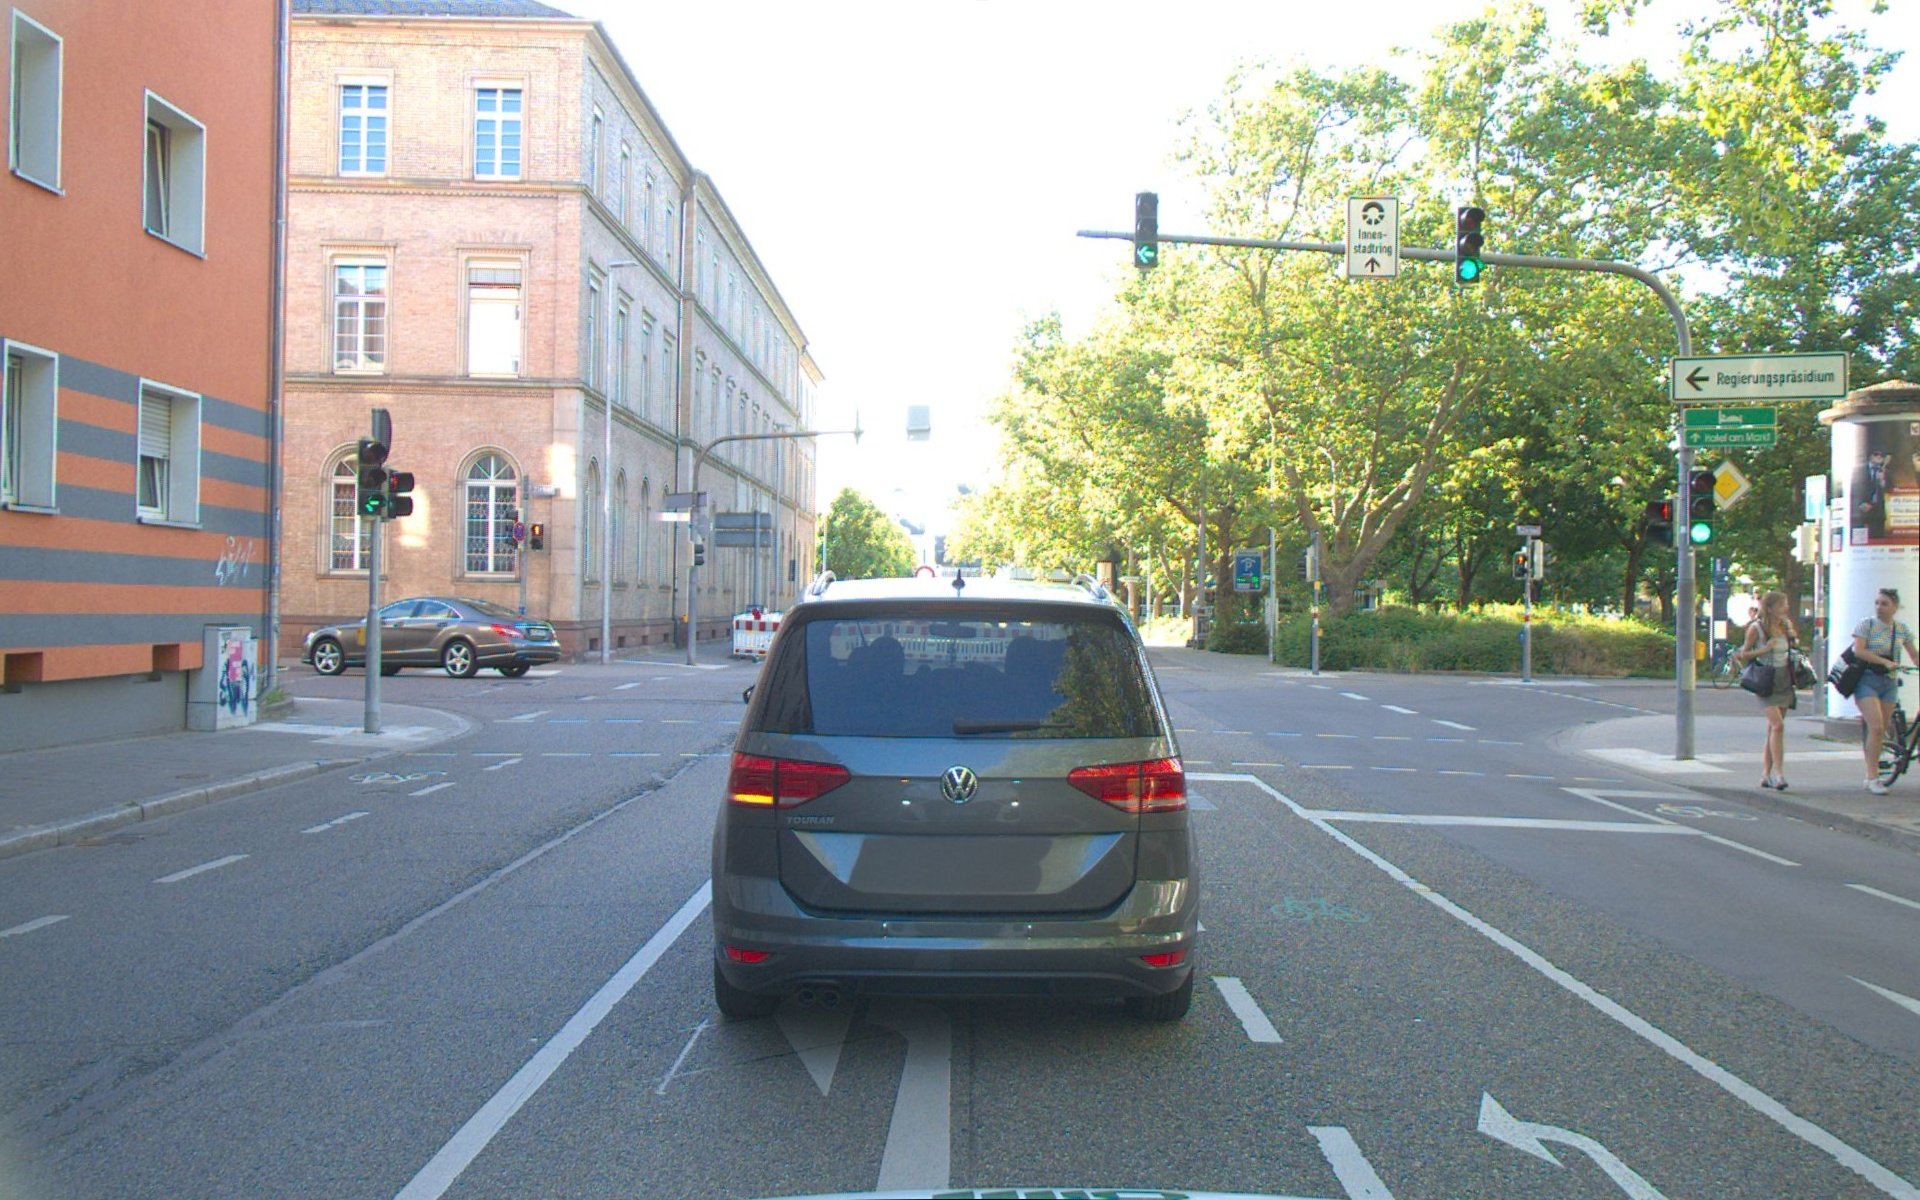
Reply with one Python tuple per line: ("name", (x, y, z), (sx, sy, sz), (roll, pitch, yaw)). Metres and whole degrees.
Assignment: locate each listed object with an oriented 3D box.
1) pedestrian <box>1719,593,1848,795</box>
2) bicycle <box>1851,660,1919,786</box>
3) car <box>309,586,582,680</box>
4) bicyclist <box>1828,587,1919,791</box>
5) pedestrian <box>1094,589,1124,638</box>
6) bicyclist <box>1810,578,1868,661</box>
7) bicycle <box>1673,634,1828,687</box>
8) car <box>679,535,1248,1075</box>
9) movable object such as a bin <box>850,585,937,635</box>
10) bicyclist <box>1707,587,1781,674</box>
("pedestrian", (7.352, 0.831, 14.792), (0.758, 1.749, 0.692), (-1, -2, -1))
("bicycle", (8.527, 1.083, 14.499), (0.510, 1.053, 1.647), (1, -1, -1))
("car", (-9.337, 0.567, 30.112), (4.398, 1.556, 1.930), (1, 0, 16))
("bicyclist", (8.115, 0.773, 14.511), (0.620, 1.744, 0.654), (0, -2, -1))
("pedestrian", (8.268, 0.748, 92.039), (1.393, 2.714, 1.146), (1, -1, -9))
("bicyclist", (17.125, 0.360, 32.227), (0.933, 1.572, 1.124), (1, 1, 31))
("bicycle", (17.064, 1.300, 35.720), (2.936, 1.056, 0.942), (1, -1, -4))
("car", (0.014, 0.630, 7.088), (1.726, 1.635, 4.000), (1, 0, 0))
("movable object such as a bin", (-3.897, 0.580, 96.916), (4.757, 2.825, 2.458), (0, -1, 43))
("bicyclist", (16.912, 0.653, 35.702), (1.105, 1.839, 0.977), (1, -1, -2))
